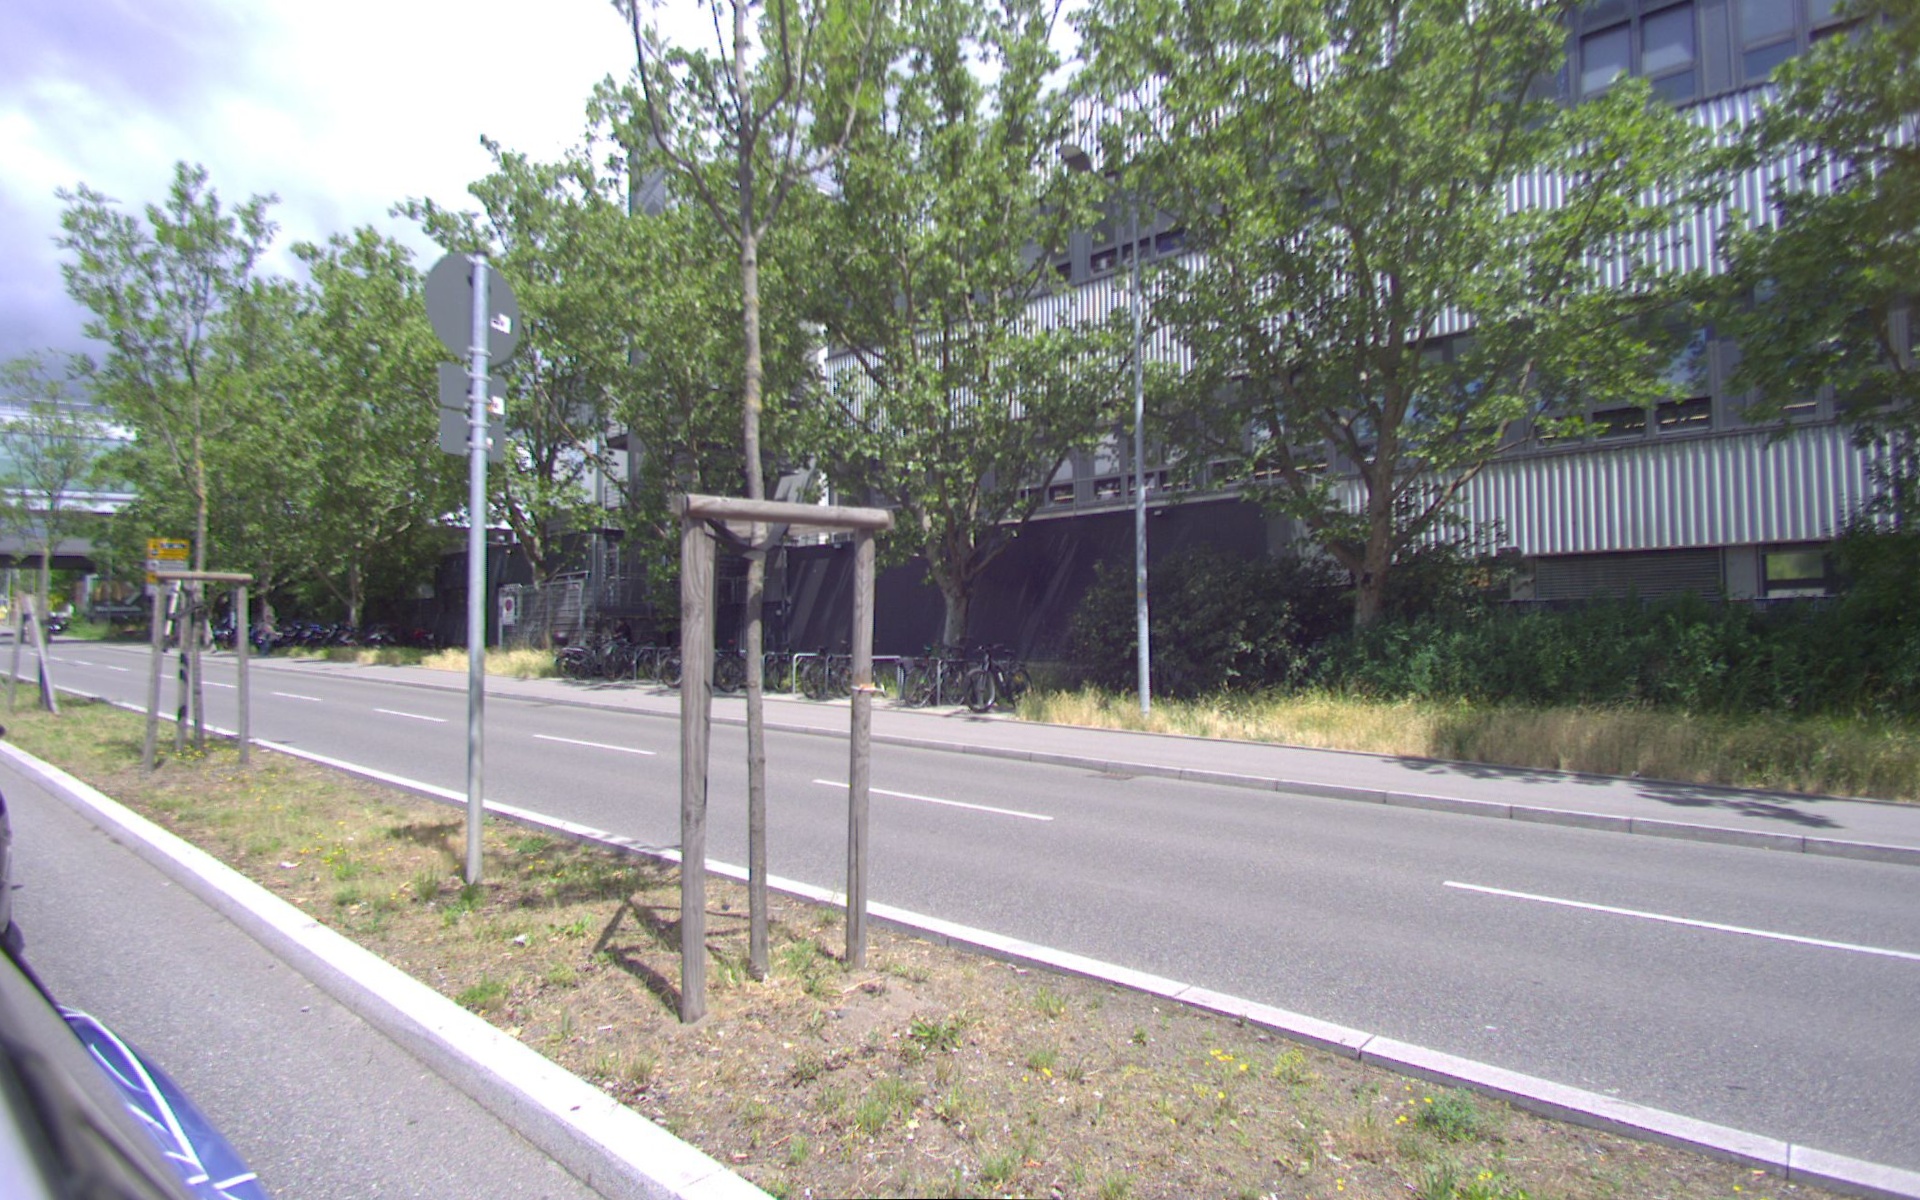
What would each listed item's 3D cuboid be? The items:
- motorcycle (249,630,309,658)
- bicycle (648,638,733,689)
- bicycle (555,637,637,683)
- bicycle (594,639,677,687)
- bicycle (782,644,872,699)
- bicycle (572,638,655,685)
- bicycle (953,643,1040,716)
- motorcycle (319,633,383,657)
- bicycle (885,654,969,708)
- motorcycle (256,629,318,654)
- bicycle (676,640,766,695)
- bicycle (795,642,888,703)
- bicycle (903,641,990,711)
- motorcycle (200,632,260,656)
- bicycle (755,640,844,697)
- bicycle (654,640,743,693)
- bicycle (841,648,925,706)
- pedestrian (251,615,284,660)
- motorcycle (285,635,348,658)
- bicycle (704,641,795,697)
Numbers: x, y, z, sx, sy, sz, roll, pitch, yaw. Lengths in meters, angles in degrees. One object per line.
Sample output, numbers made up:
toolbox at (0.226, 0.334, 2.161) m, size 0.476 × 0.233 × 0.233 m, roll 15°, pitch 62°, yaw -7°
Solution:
motorcycle at (-29.443, 1.900, 43.774) m, size 0.534 × 1.146 × 2.105 m, roll -2°, pitch -1°, yaw 41°
bicycle at (-6.481, 1.507, 24.411) m, size 0.382 × 1.119 × 2.101 m, roll -2°, pitch -1°, yaw 43°
bicycle at (-9.547, 1.547, 26.628) m, size 0.382 × 1.119 × 2.101 m, roll -2°, pitch -1°, yaw 43°
bicycle at (-8.161, 1.562, 25.534) m, size 0.382 × 1.119 × 2.101 m, roll -2°, pitch -1°, yaw 43°
bicycle at (-2.744, 1.475, 21.133) m, size 0.382 × 1.038 × 2.101 m, roll -2°, pitch -1°, yaw 43°
bicycle at (-8.905, 1.566, 26.083) m, size 0.382 × 1.119 × 2.101 m, roll -2°, pitch -1°, yaw 43°
bicycle at (0.660, 1.335, 17.395) m, size 0.381 × 1.137 × 1.968 m, roll -2°, pitch -1°, yaw 39°
motorcycle at (-23.962, 1.763, 39.823) m, size 0.534 × 0.905 × 2.105 m, roll -2°, pitch -1°, yaw 41°
bicycle at (-0.598, 1.517, 19.218) m, size 0.381 × 0.897 × 1.968 m, roll -2°, pitch -1°, yaw 39°
motorcycle at (-28.535, 1.758, 42.943) m, size 0.534 × 0.976 × 2.105 m, roll -2°, pitch -1°, yaw 41°
bicycle at (-5.334, 1.484, 22.664) m, size 0.382 × 1.119 × 2.101 m, roll -2°, pitch -1°, yaw 43°
bicycle at (-2.340, 1.431, 20.225) m, size 0.382 × 1.104 × 2.101 m, roll -2°, pitch -1°, yaw 43°
bicycle at (-0.220, 1.331, 18.117) m, size 0.381 × 1.137 × 1.968 m, roll -2°, pitch -1°, yaw 39°
motorcycle at (-32.185, 1.923, 44.631) m, size 0.534 × 0.976 × 2.105 m, roll -2°, pitch -1°, yaw 41°
bicycle at (-3.412, 1.452, 21.748) m, size 0.382 × 1.119 × 2.101 m, roll -2°, pitch -1°, yaw 43°
bicycle at (-5.990, 1.496, 23.261) m, size 0.382 × 1.119 × 2.101 m, roll -2°, pitch -1°, yaw 43°
bicycle at (-1.470, 1.473, 19.704) m, size 0.381 × 1.005 × 1.968 m, roll -2°, pitch -1°, yaw 39°
pedestrian at (-26.931, 1.457, 39.366) m, size 0.672 × 1.734 × 0.888 m, roll -2°, pitch -2°, yaw 41°
motorcycle at (-25.940, 1.862, 40.819) m, size 0.534 × 0.892 × 2.105 m, roll -2°, pitch -1°, yaw 41°
bicycle at (-4.543, 1.475, 22.014) m, size 0.382 × 1.119 × 2.101 m, roll -2°, pitch -1°, yaw 43°
